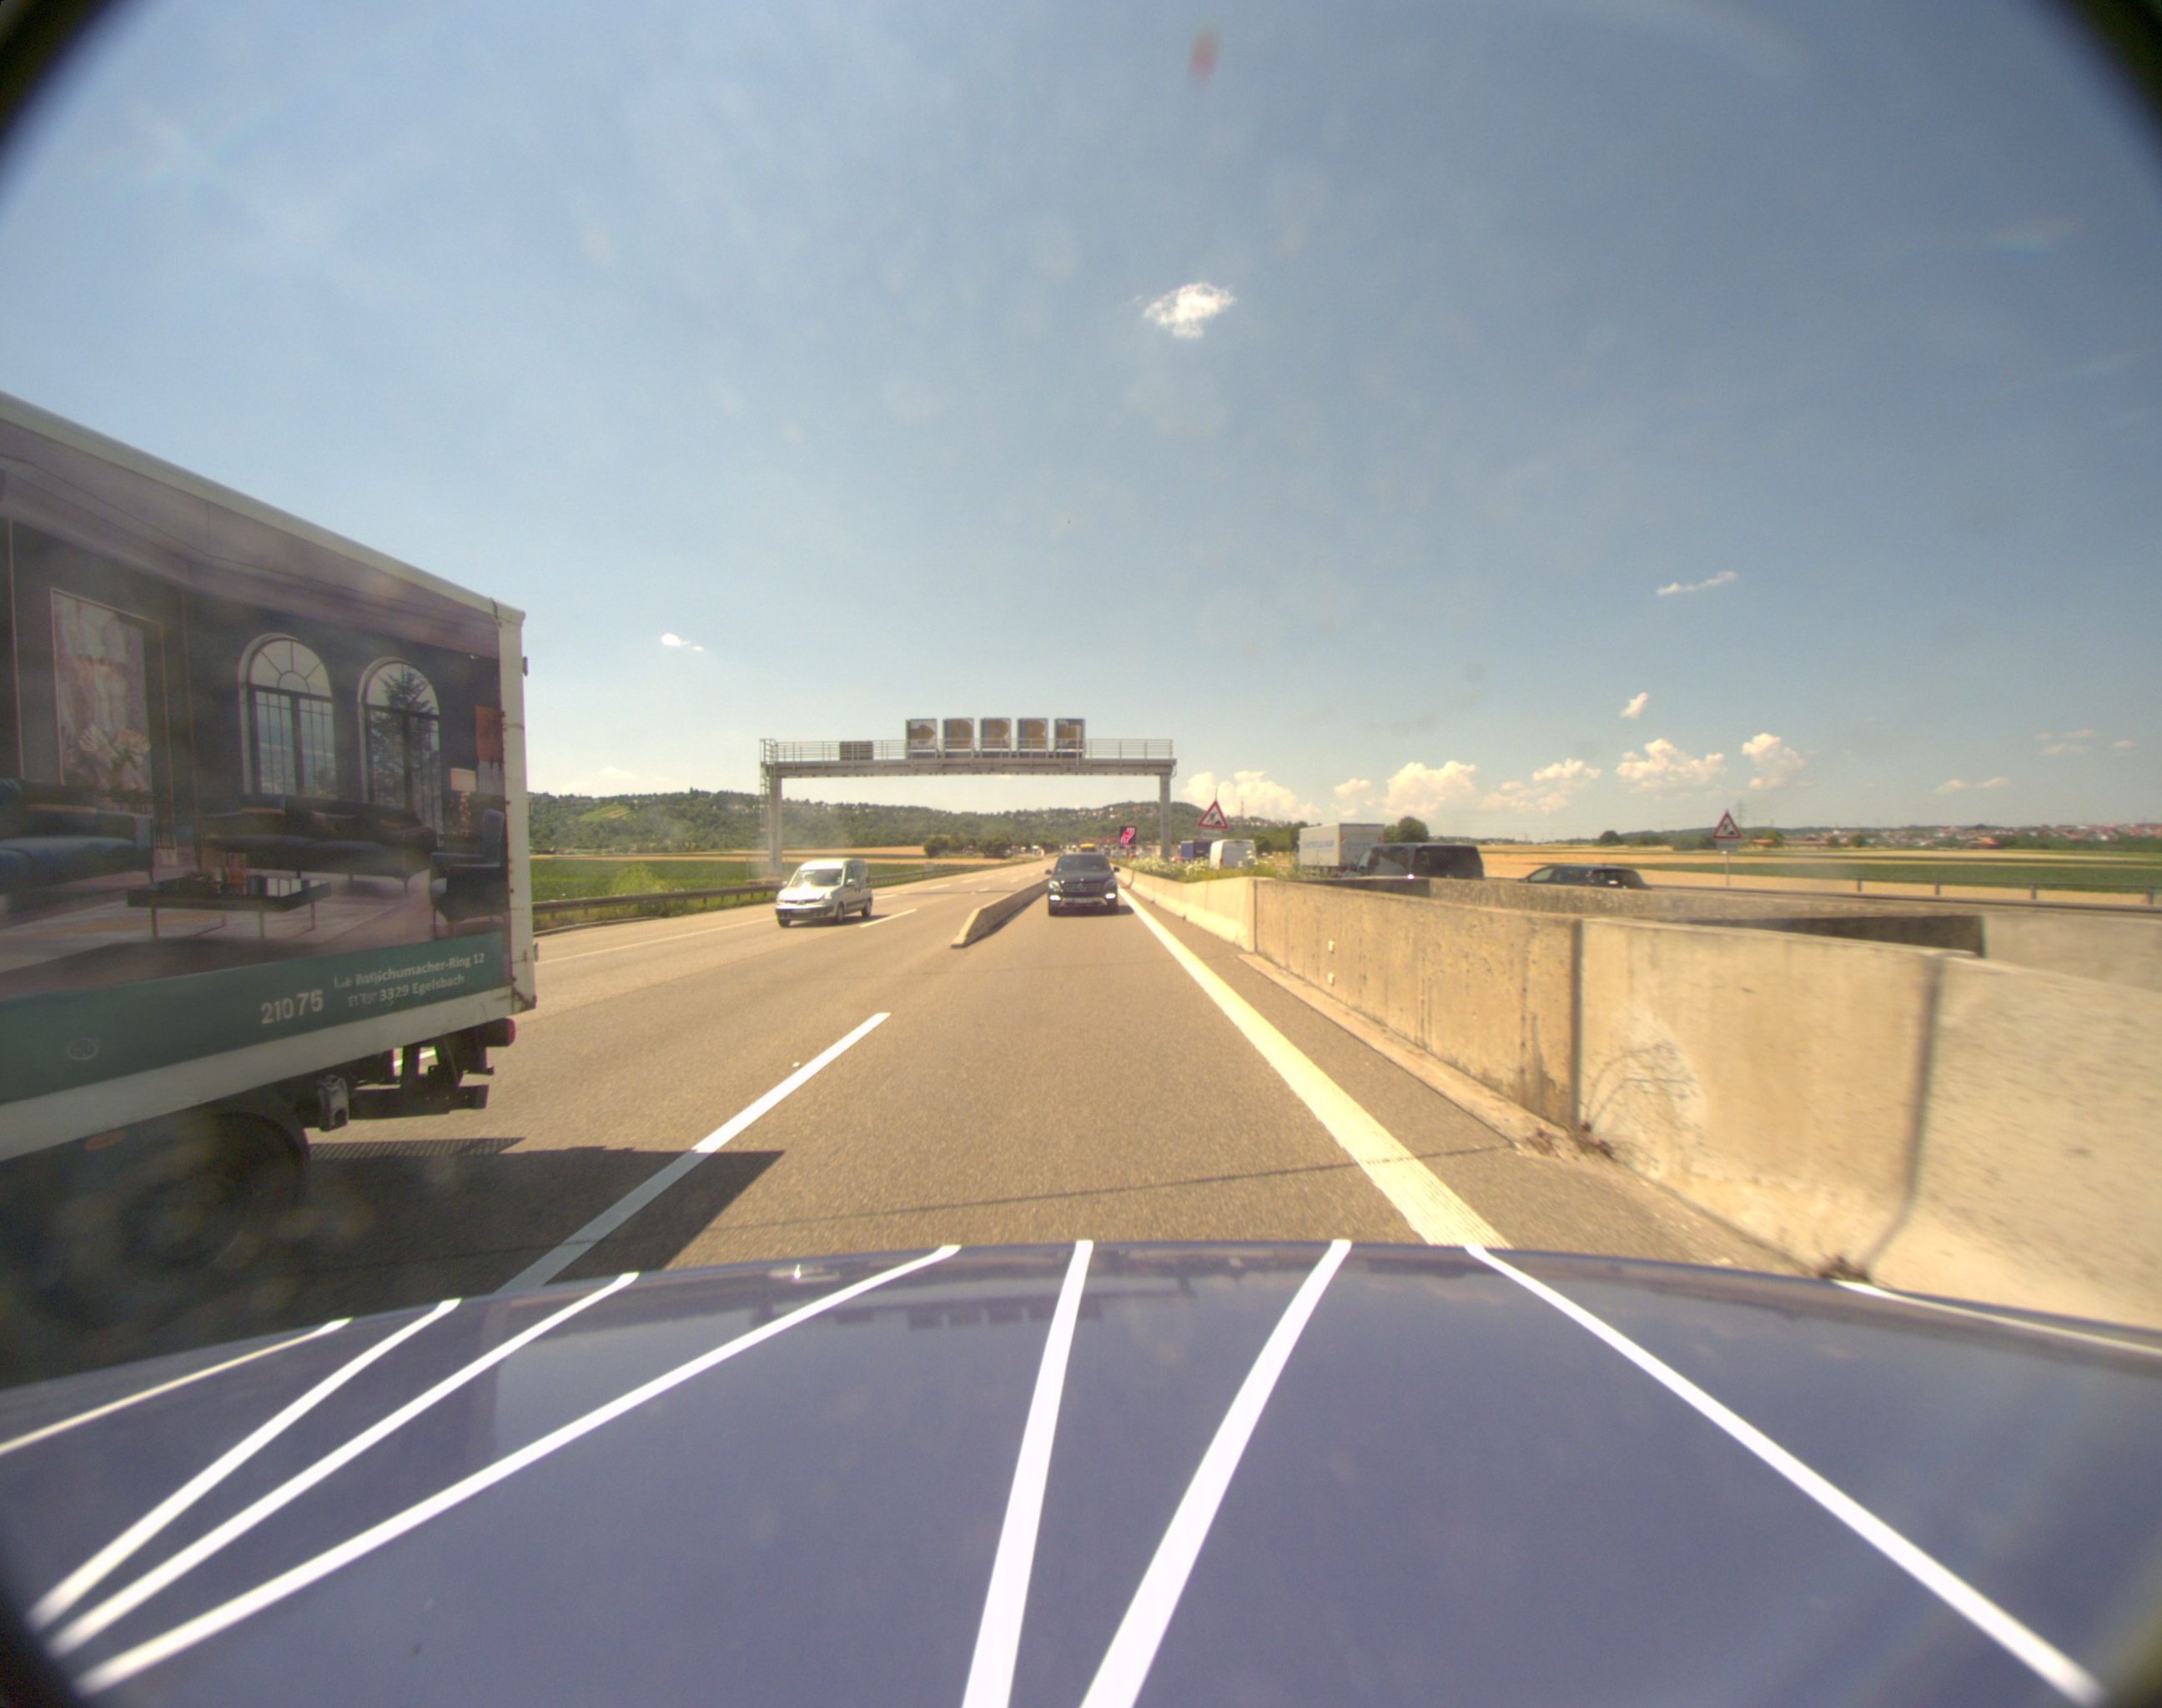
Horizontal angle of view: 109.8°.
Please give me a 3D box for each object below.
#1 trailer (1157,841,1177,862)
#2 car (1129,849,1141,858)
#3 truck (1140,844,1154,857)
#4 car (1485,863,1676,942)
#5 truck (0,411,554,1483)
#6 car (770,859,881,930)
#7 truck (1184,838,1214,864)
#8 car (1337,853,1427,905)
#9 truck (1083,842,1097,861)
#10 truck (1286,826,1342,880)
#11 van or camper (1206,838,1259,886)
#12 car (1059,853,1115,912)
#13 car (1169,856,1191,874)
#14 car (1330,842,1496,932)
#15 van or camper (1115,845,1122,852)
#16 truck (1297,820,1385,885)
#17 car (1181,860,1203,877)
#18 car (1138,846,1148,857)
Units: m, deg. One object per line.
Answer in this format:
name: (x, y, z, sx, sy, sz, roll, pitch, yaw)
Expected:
trailer: (17.918, -0.498, 159.002, 2.817, 4.104, 14.129, 0, 0, 0)
car: (9.917, -0.154, 140.223, 1.899, 1.569, 4.935, -2, 1, 0)
truck: (18.550, -1.054, 213.903, 2.801, 3.588, 13.288, 1, 0, 1)
car: (11.764, 1.067, 18.277, 1.894, 1.645, 4.095, 0, 0, 0)
truck: (-4.255, 0.274, 0.953, 2.326, 3.049, 6.751, -2, 0, 1)
car: (-7.004, 1.037, 21.261, 1.630, 1.727, 3.973, -2, 0, 1)
truck: (17.188, -0.368, 111.372, 2.983, 3.587, 9.993, -1, 0, 0)
car: (11.206, 0.896, 28.617, 1.900, 1.787, 4.001, -2, 0, 2)
truck: (1.571, -0.486, 129.138, 2.272, 3.139, 8.186, -2, 1, 1)
truck: (16.072, -0.070, 52.747, 2.704, 3.566, 4.000, 1, 0, 2)
van or camper: (8.553, 0.428, 43.164, 2.153, 2.613, 4.397, 0, 0, 0)
car: (0.224, 0.832, 24.054, 1.630, 1.711, 3.865, -1, 0, 1)
car: (9.222, 0.992, 71.153, 1.563, 1.561, 3.704, -1, 0, 0)
car: (7.913, 0.700, 18.698, 1.998, 1.934, 4.794, 0, 0, 0)
van or camper: (12.260, -1.759, 247.186, 2.040, 2.208, 7.207, -2, 0, 1)
truck: (15.883, -0.081, 47.195, 2.706, 3.599, 8.787, 1, 0, 2)
car: (12.661, 1.644, 87.050, 1.998, 1.910, 4.460, -2, 0, 2)
car: (14.870, -0.543, 182.492, 2.052, 2.486, 5.812, 0, 0, 0)
